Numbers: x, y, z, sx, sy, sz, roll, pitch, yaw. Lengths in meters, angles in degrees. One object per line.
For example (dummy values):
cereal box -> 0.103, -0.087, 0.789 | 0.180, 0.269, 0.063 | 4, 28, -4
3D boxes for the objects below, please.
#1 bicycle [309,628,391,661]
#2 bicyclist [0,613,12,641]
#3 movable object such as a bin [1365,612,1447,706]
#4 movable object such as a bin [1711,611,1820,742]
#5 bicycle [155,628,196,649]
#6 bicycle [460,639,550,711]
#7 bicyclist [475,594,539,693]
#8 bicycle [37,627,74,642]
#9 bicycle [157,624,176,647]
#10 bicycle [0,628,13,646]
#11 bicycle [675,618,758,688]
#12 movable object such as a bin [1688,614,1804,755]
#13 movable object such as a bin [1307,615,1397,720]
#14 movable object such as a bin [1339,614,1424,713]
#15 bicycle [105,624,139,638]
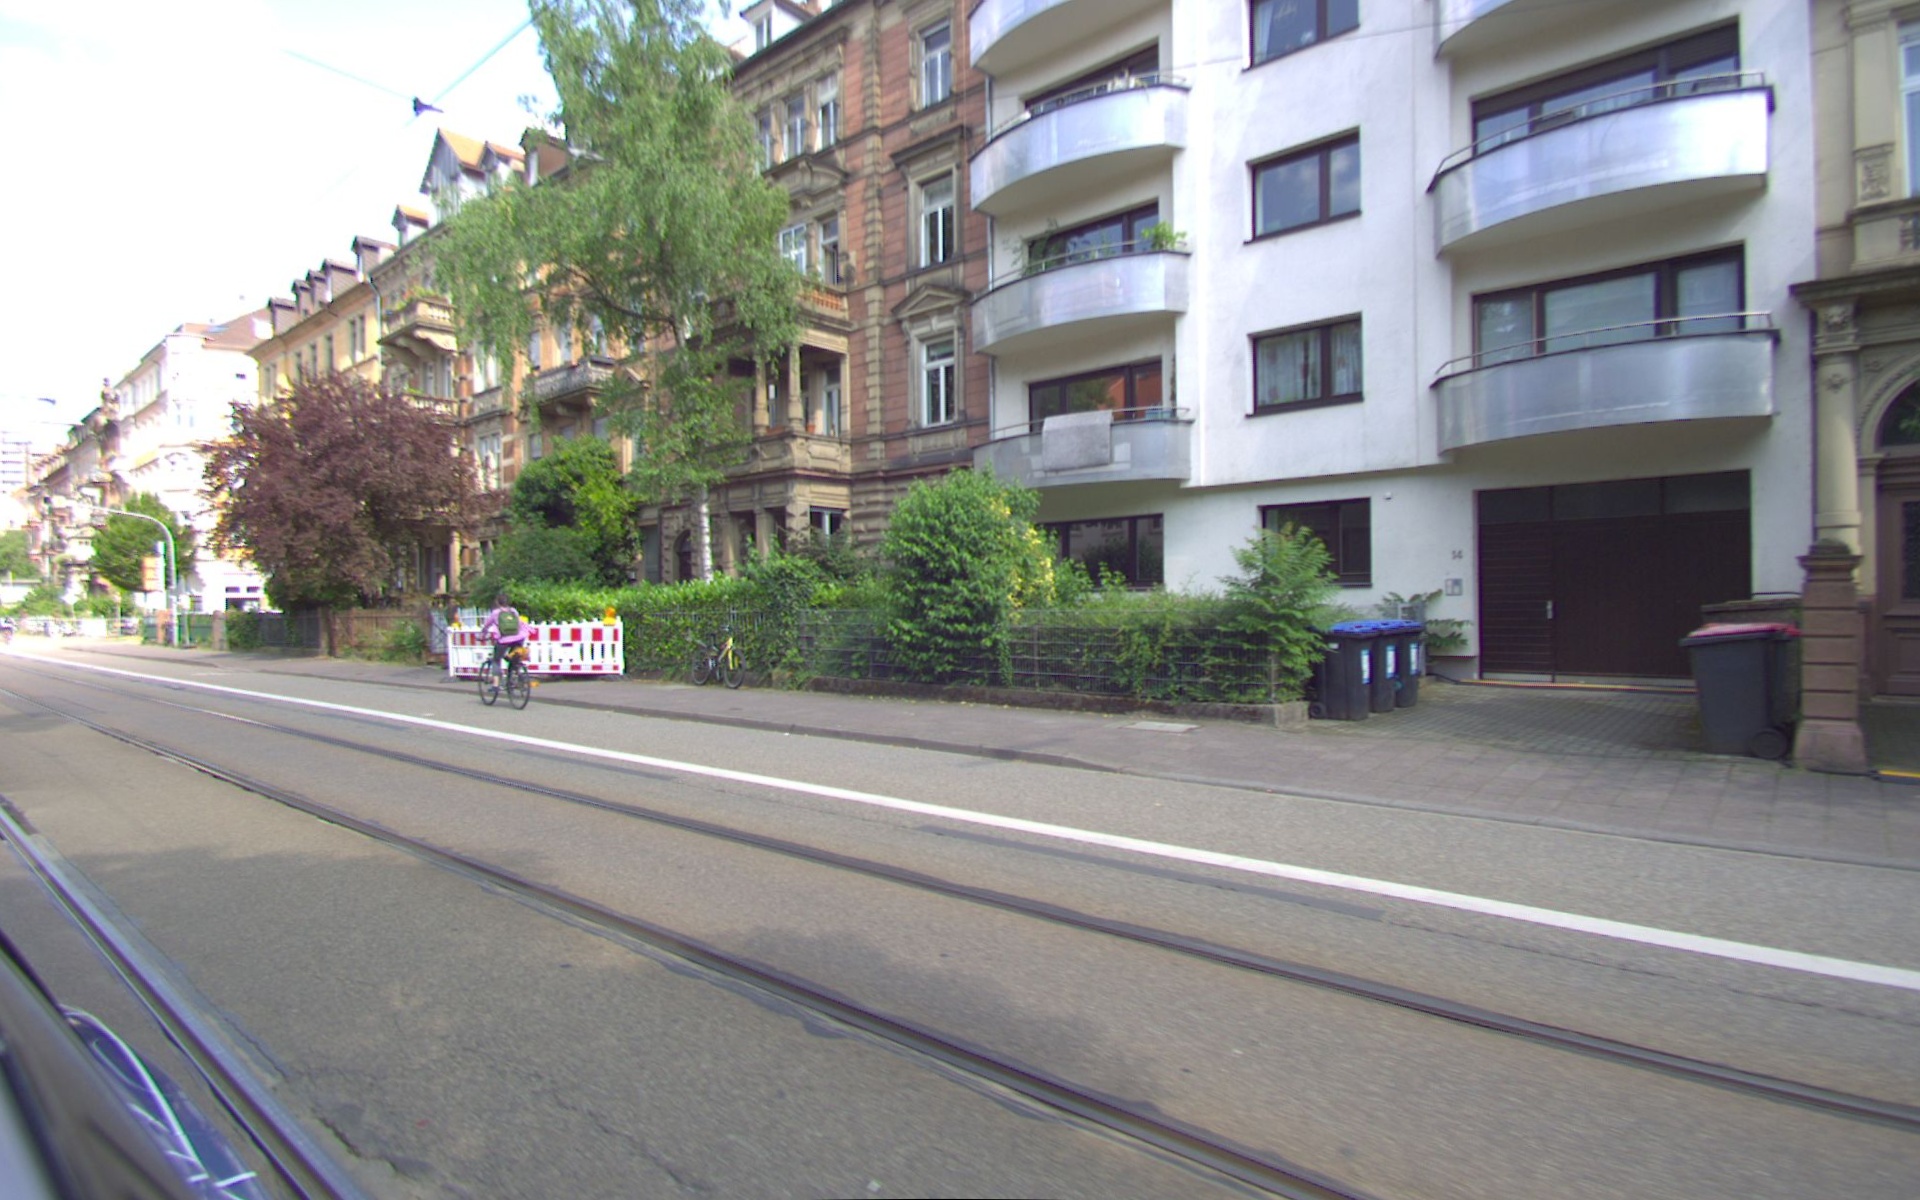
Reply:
bicycle -> -18.791, 1.348, 31.210 | 0.586, 0.944, 2.106 | -1, -1, 40
bicyclist -> -51.566, 1.448, 54.540 | 0.605, 1.510, 0.744 | 2, -2, -37
movable object such as a bin -> 5.569, 0.711, 12.641 | 0.733, 1.116, 0.765 | -1, -1, 41
movable object such as a bin -> 7.277, 0.664, 9.171 | 0.732, 1.116, 0.661 | -1, -1, 38
bicycle -> -35.807, 1.758, 46.212 | 0.401, 0.948, 1.412 | -5, -5, 43
bicycle -> -6.919, 1.102, 15.336 | 1.918, 0.997, 0.563 | -1, -1, 44
bicyclist -> -6.838, 0.637, 15.263 | 0.942, 1.436, 0.558 | -1, -1, 43
bicycle -> -59.396, 2.284, 66.479 | 1.724, 0.948, 0.485 | 2, -2, -25
bicycle -> -34.931, 1.580, 44.549 | 1.472, 0.948, 0.395 | -5, -5, 43
bicycle -> -51.536, 1.990, 54.481 | 0.598, 0.948, 1.758 | 2, -2, -37
bicycle -> -4.205, 0.894, 17.397 | 1.818, 1.146, 0.408 | -1, -1, 41
movable object such as a bin -> 6.612, 0.681, 8.540 | 0.732, 1.116, 0.661 | -1, -1, 38
movable object such as a bin -> 4.430, 0.736, 11.431 | 0.733, 1.116, 0.765 | -1, -1, 41
movable object such as a bin -> 5.027, 0.734, 12.065 | 0.733, 1.116, 0.765 | -1, -1, 41
bicycle -> -57.480, 2.154, 69.398 | 0.483, 0.948, 1.731 | -1, -2, 40
